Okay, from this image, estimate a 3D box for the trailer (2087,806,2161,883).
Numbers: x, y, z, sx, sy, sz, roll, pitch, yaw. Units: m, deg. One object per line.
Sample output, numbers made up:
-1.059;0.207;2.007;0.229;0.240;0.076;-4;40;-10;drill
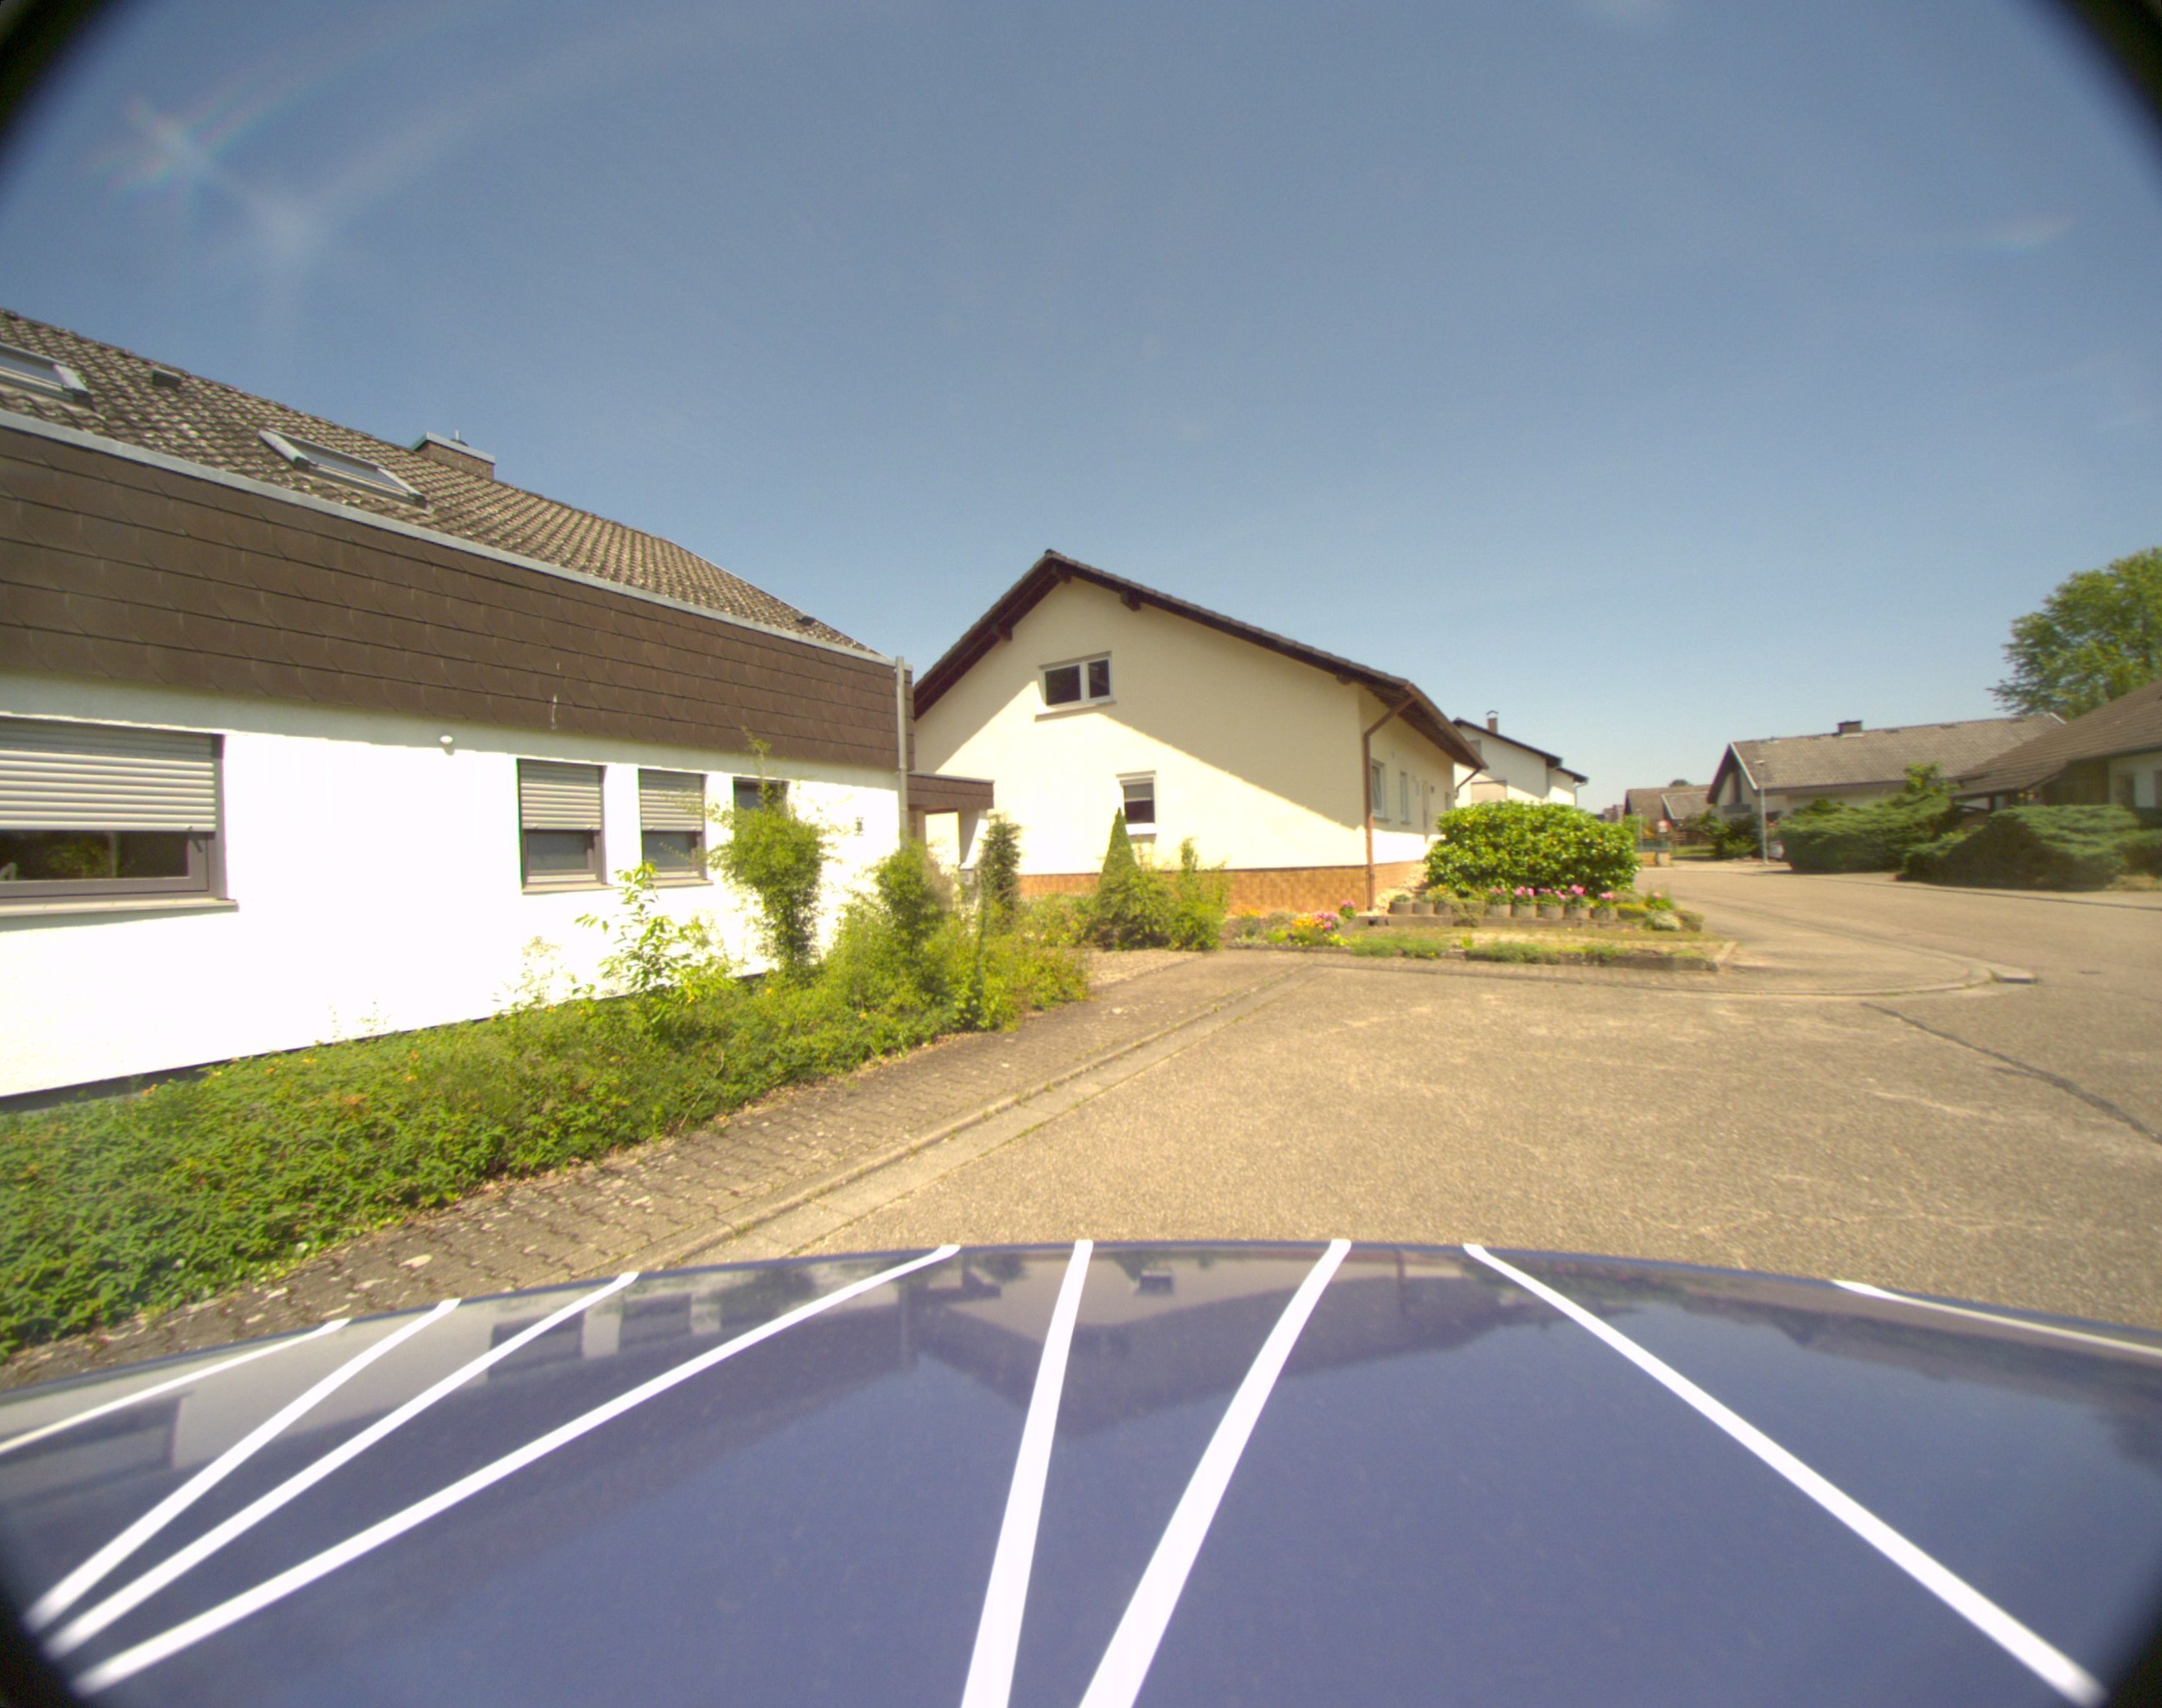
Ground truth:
25.324;-0.261;17.408;1.588;1.662;3.302;-4;0;32;trailer
